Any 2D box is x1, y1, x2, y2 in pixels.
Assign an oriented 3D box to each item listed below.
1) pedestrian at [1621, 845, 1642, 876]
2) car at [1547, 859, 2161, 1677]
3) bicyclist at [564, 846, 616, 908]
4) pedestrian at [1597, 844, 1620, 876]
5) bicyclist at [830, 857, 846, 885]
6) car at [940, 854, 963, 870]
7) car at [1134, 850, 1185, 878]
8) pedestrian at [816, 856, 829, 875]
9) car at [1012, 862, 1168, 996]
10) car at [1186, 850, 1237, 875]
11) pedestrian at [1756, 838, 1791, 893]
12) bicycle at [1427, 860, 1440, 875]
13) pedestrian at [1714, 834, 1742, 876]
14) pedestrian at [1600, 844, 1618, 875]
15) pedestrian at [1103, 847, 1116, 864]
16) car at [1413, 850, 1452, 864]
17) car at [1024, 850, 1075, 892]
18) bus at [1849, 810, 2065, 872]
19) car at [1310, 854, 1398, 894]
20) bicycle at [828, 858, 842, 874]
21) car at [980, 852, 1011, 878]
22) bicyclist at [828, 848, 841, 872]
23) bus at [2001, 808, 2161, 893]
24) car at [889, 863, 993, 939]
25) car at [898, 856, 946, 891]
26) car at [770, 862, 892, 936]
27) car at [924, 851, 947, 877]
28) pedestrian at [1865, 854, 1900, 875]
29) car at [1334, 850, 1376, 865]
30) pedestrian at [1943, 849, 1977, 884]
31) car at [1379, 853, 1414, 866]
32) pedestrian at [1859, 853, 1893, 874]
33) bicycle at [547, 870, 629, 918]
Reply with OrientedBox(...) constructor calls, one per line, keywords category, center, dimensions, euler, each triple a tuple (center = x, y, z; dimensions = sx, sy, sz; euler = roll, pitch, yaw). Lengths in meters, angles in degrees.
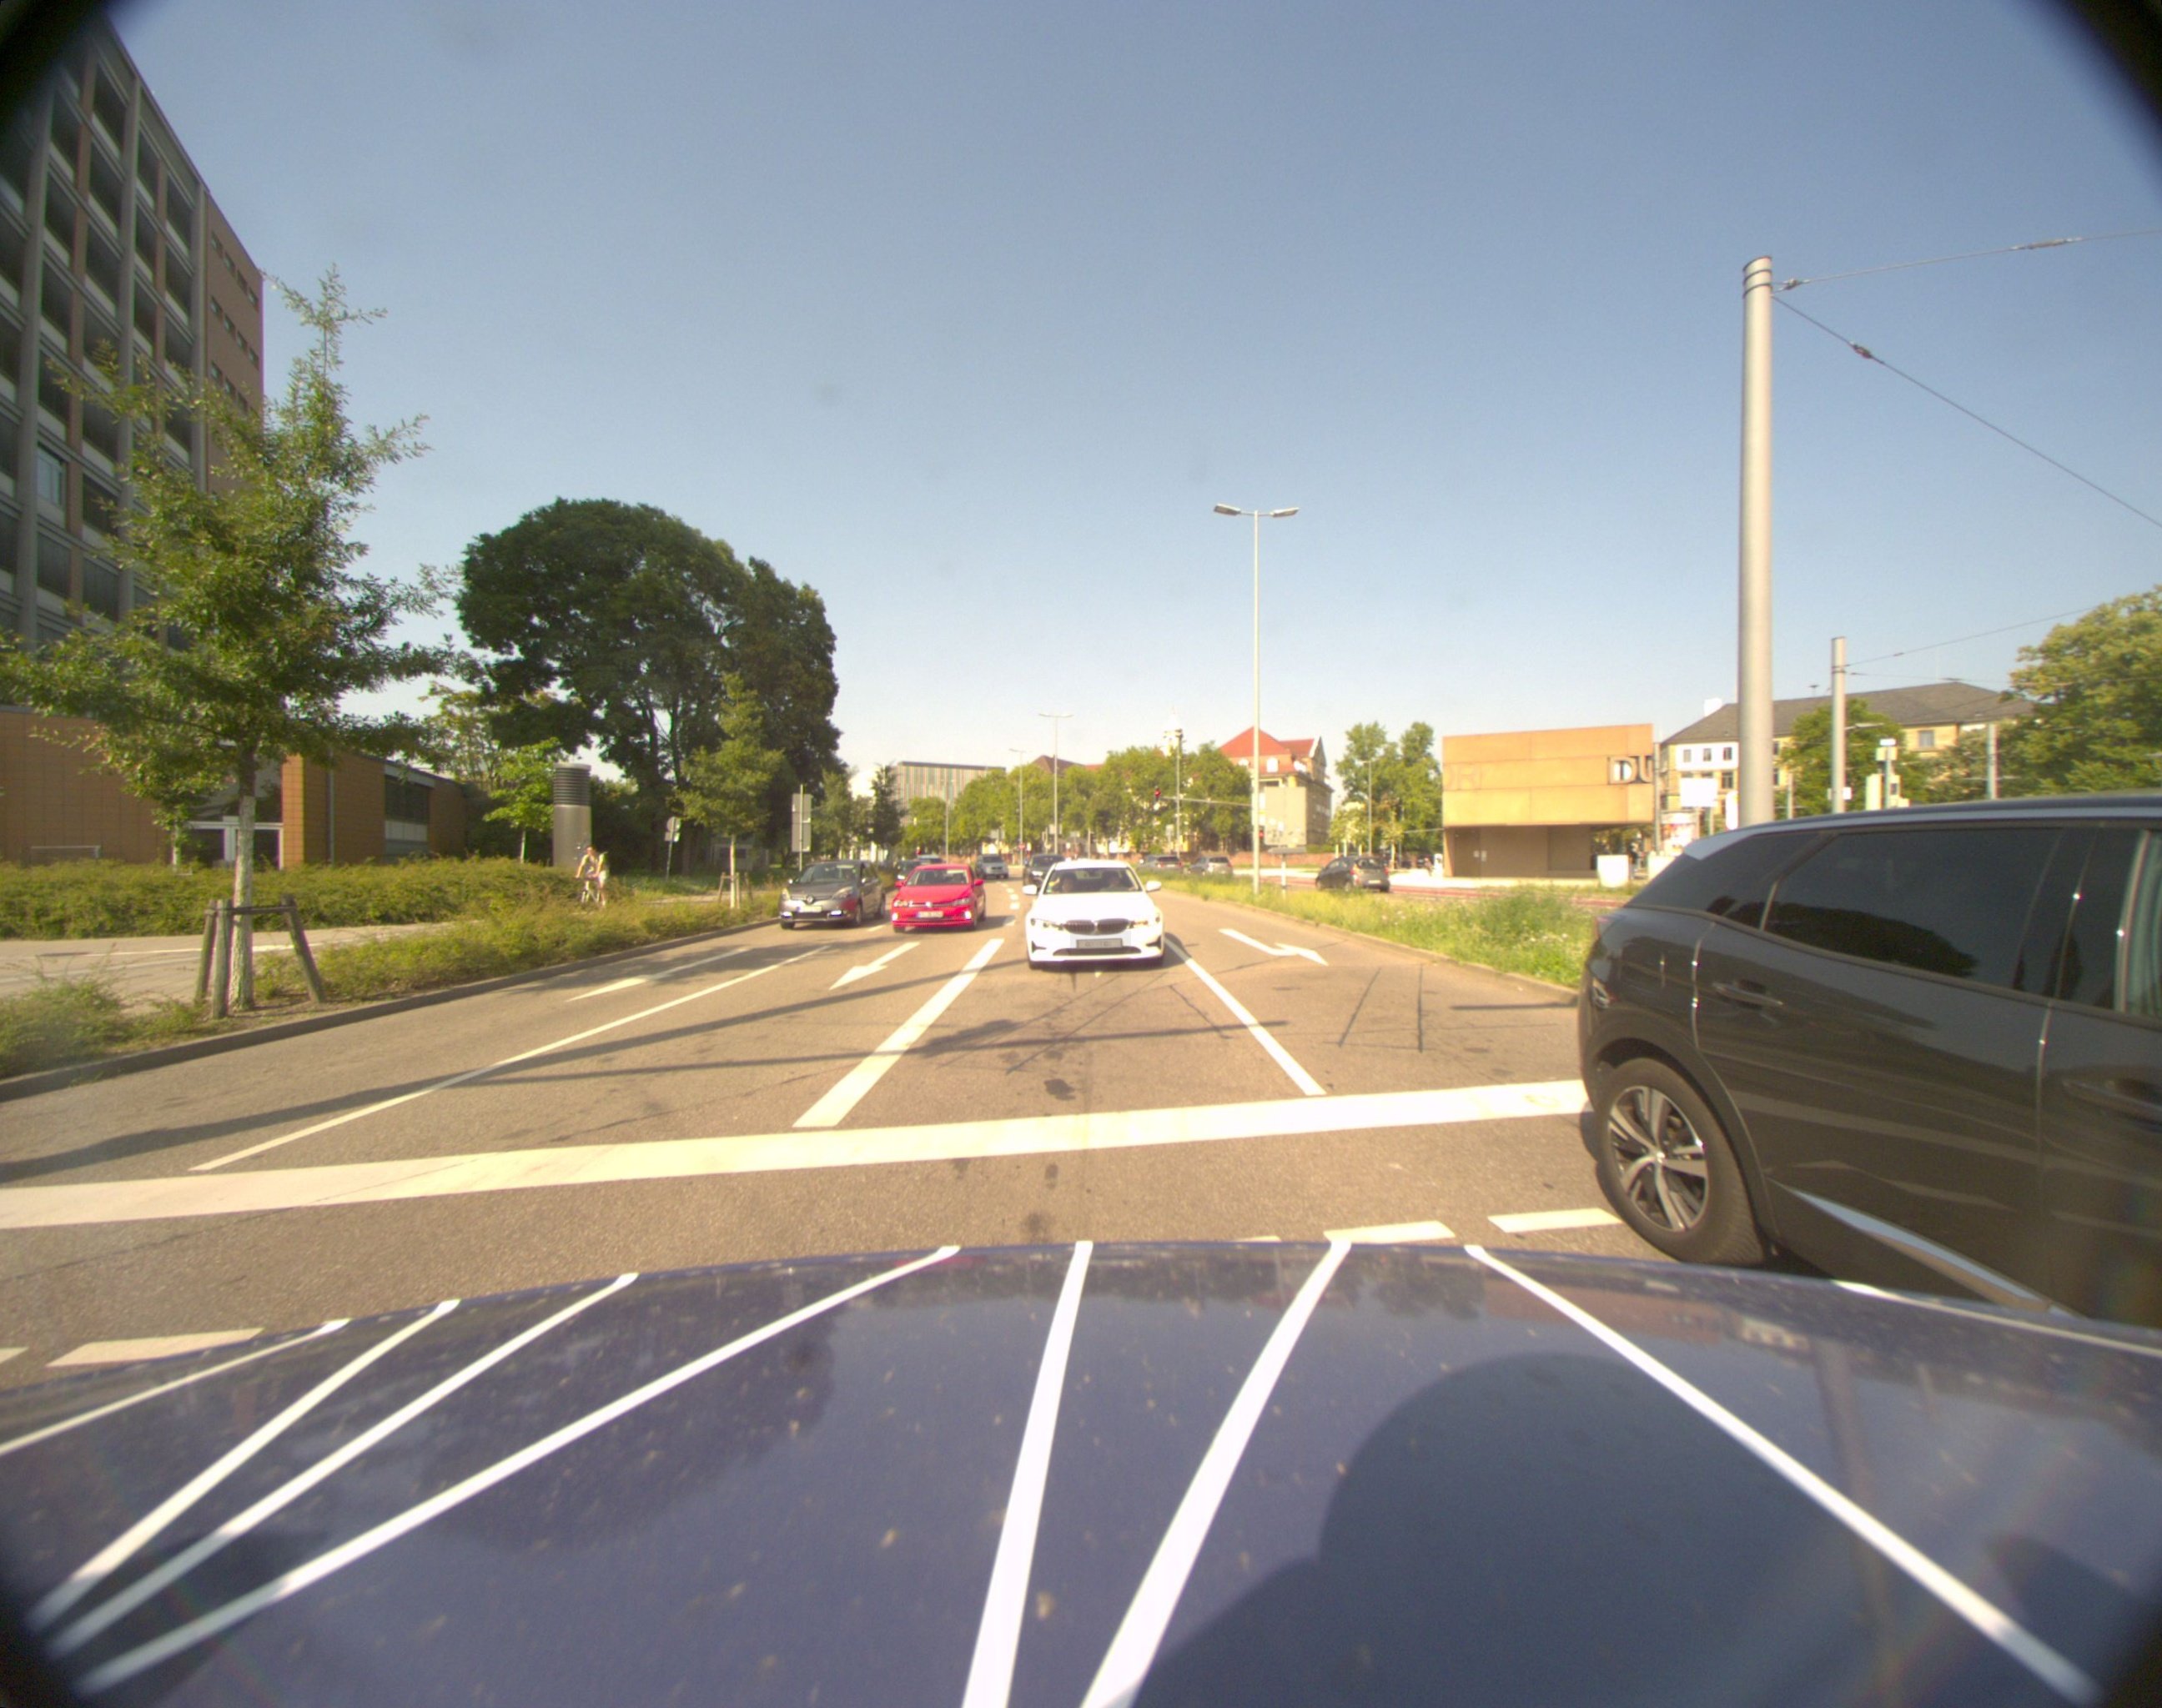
OrientedBox(category="pedestrian", center=(28.609, 0.327, 39.497), dimensions=(0.717, 1.621, 0.858), euler=(0, 1, 25))
OrientedBox(category="car", center=(2.813, 0.764, 1.136), dimensions=(1.686, 1.483, 4.373), euler=(0, 0, 2))
OrientedBox(category="bicyclist", center=(-12.840, 0.589, 19.887), dimensions=(0.773, 1.584, 0.923), euler=(-1, 1, -5))
OrientedBox(category="pedestrian", center=(28.197, 0.323, 40.609), dimensions=(0.864, 1.695, 0.733), euler=(0, 1, 23))
OrientedBox(category="bicyclist", center=(-13.301, 0.896, 41.579), dimensions=(0.722, 1.504, 1.003), euler=(0, 1, -10))
OrientedBox(category="car", center=(-13.559, 0.831, 79.487), dimensions=(1.689, 1.644, 4.365), euler=(0, 0, -19))
OrientedBox(category="car", center=(4.703, 0.564, 45.990), dimensions=(1.700, 1.608, 4.456), euler=(0, 0, -13))
OrientedBox(category="pedestrian", center=(-19.760, 0.840, 58.021), dimensions=(0.727, 1.435, 0.857), euler=(0, 1, -4))
OrientedBox(category="car", center=(0.253, 0.883, 10.953), dimensions=(1.782, 1.474, 4.534), euler=(0, 0, 4))
OrientedBox(category="car", center=(7.918, 0.497, 46.586), dimensions=(1.819, 1.425, 4.221), euler=(0, 0, -9))
OrientedBox(category="pedestrian", center=(23.058, 0.380, 25.304), dimensions=(0.699, 1.790, 0.781), euler=(0, 1, 31))
OrientedBox(category="bicycle", center=(20.890, 0.793, 45.059), dimensions=(0.591, 0.833, 1.550), euler=(-3, -1, 28))
OrientedBox(category="pedestrian", center=(27.962, 0.041, 32.840), dimensions=(0.699, 1.790, 0.781), euler=(0, 1, 24))
OrientedBox(category="pedestrian", center=(30.133, 0.299, 43.359), dimensions=(0.717, 1.727, 0.858), euler=(0, 1, 25))
OrientedBox(category="pedestrian", center=(3.469, 0.151, 91.788), dimensions=(1.080, 2.002, 1.316), euler=(-1, 1, -21))
OrientedBox(category="car", center=(40.912, 0.317, 88.458), dimensions=(4.379, 1.623, 1.995), euler=(0, 0, -30))
OrientedBox(category="car", center=(-1.500, 0.761, 34.334), dimensions=(1.784, 1.682, 4.530), euler=(-3, 0, -8))
OrientedBox(category="bus", center=(48.159, -0.646, 42.583), dimensions=(3.290, 2.960, 12.820), euler=(0, 0, 27))
OrientedBox(category="car", center=(10.758, 0.749, 30.203), dimensions=(1.894, 1.443, 3.673), euler=(0, 0, -6))
OrientedBox(category="bicycle", center=(-17.843, 0.881, 55.117), dimensions=(0.774, 1.111, 2.301), euler=(-1, 0, -13))
OrientedBox(category="car", center=(-6.240, 0.787, 55.125), dimensions=(1.784, 1.710, 4.529), euler=(-3, 0, -11))
OrientedBox(category="bicyclist", center=(-17.839, 0.430, 55.078), dimensions=(0.774, 1.666, 0.923), euler=(-1, 1, -13))
OrientedBox(category="bus", center=(42.118, -0.143, 29.983), dimensions=(2.709, 3.090, 12.237), euler=(0, 0, 27))
OrientedBox(category="car", center=(-3.077, 0.969, 17.531), dimensions=(1.687, 1.483, 4.371), euler=(0, 0, -2))
OrientedBox(category="car", center=(-7.893, 0.955, 38.064), dimensions=(1.941, 1.597, 4.531), euler=(-1, 0, -7))
OrientedBox(category="car", center=(-6.041, 1.001, 18.945), dimensions=(1.783, 1.596, 4.420), euler=(0, 0, -3))
OrientedBox(category="car", center=(-11.317, 0.746, 58.918), dimensions=(1.689, 1.930, 4.367), euler=(0, 0, -13))
OrientedBox(category="pedestrian", center=(41.967, 0.543, 39.790), dimensions=(1.028, 1.126, 0.739), euler=(0, 1, 18))
OrientedBox(category="car", center=(29.676, 0.373, 82.192), dimensions=(4.379, 1.624, 1.995), euler=(0, 0, -31))
OrientedBox(category="pedestrian", center=(43.620, 0.612, 37.730), dimensions=(0.829, 1.728, 0.837), euler=(0, 1, 26))
OrientedBox(category="car", center=(35.420, 0.606, 85.321), dimensions=(3.856, 1.489, 1.621), euler=(-1, 1, -31))
OrientedBox(category="pedestrian", center=(42.398, 0.516, 40.547), dimensions=(1.028, 1.126, 0.739), euler=(0, 1, 18))
OrientedBox(category="bicycle", center=(-12.834, 1.012, 19.878), dimensions=(0.773, 1.111, 2.302), euler=(-1, 0, -5))
